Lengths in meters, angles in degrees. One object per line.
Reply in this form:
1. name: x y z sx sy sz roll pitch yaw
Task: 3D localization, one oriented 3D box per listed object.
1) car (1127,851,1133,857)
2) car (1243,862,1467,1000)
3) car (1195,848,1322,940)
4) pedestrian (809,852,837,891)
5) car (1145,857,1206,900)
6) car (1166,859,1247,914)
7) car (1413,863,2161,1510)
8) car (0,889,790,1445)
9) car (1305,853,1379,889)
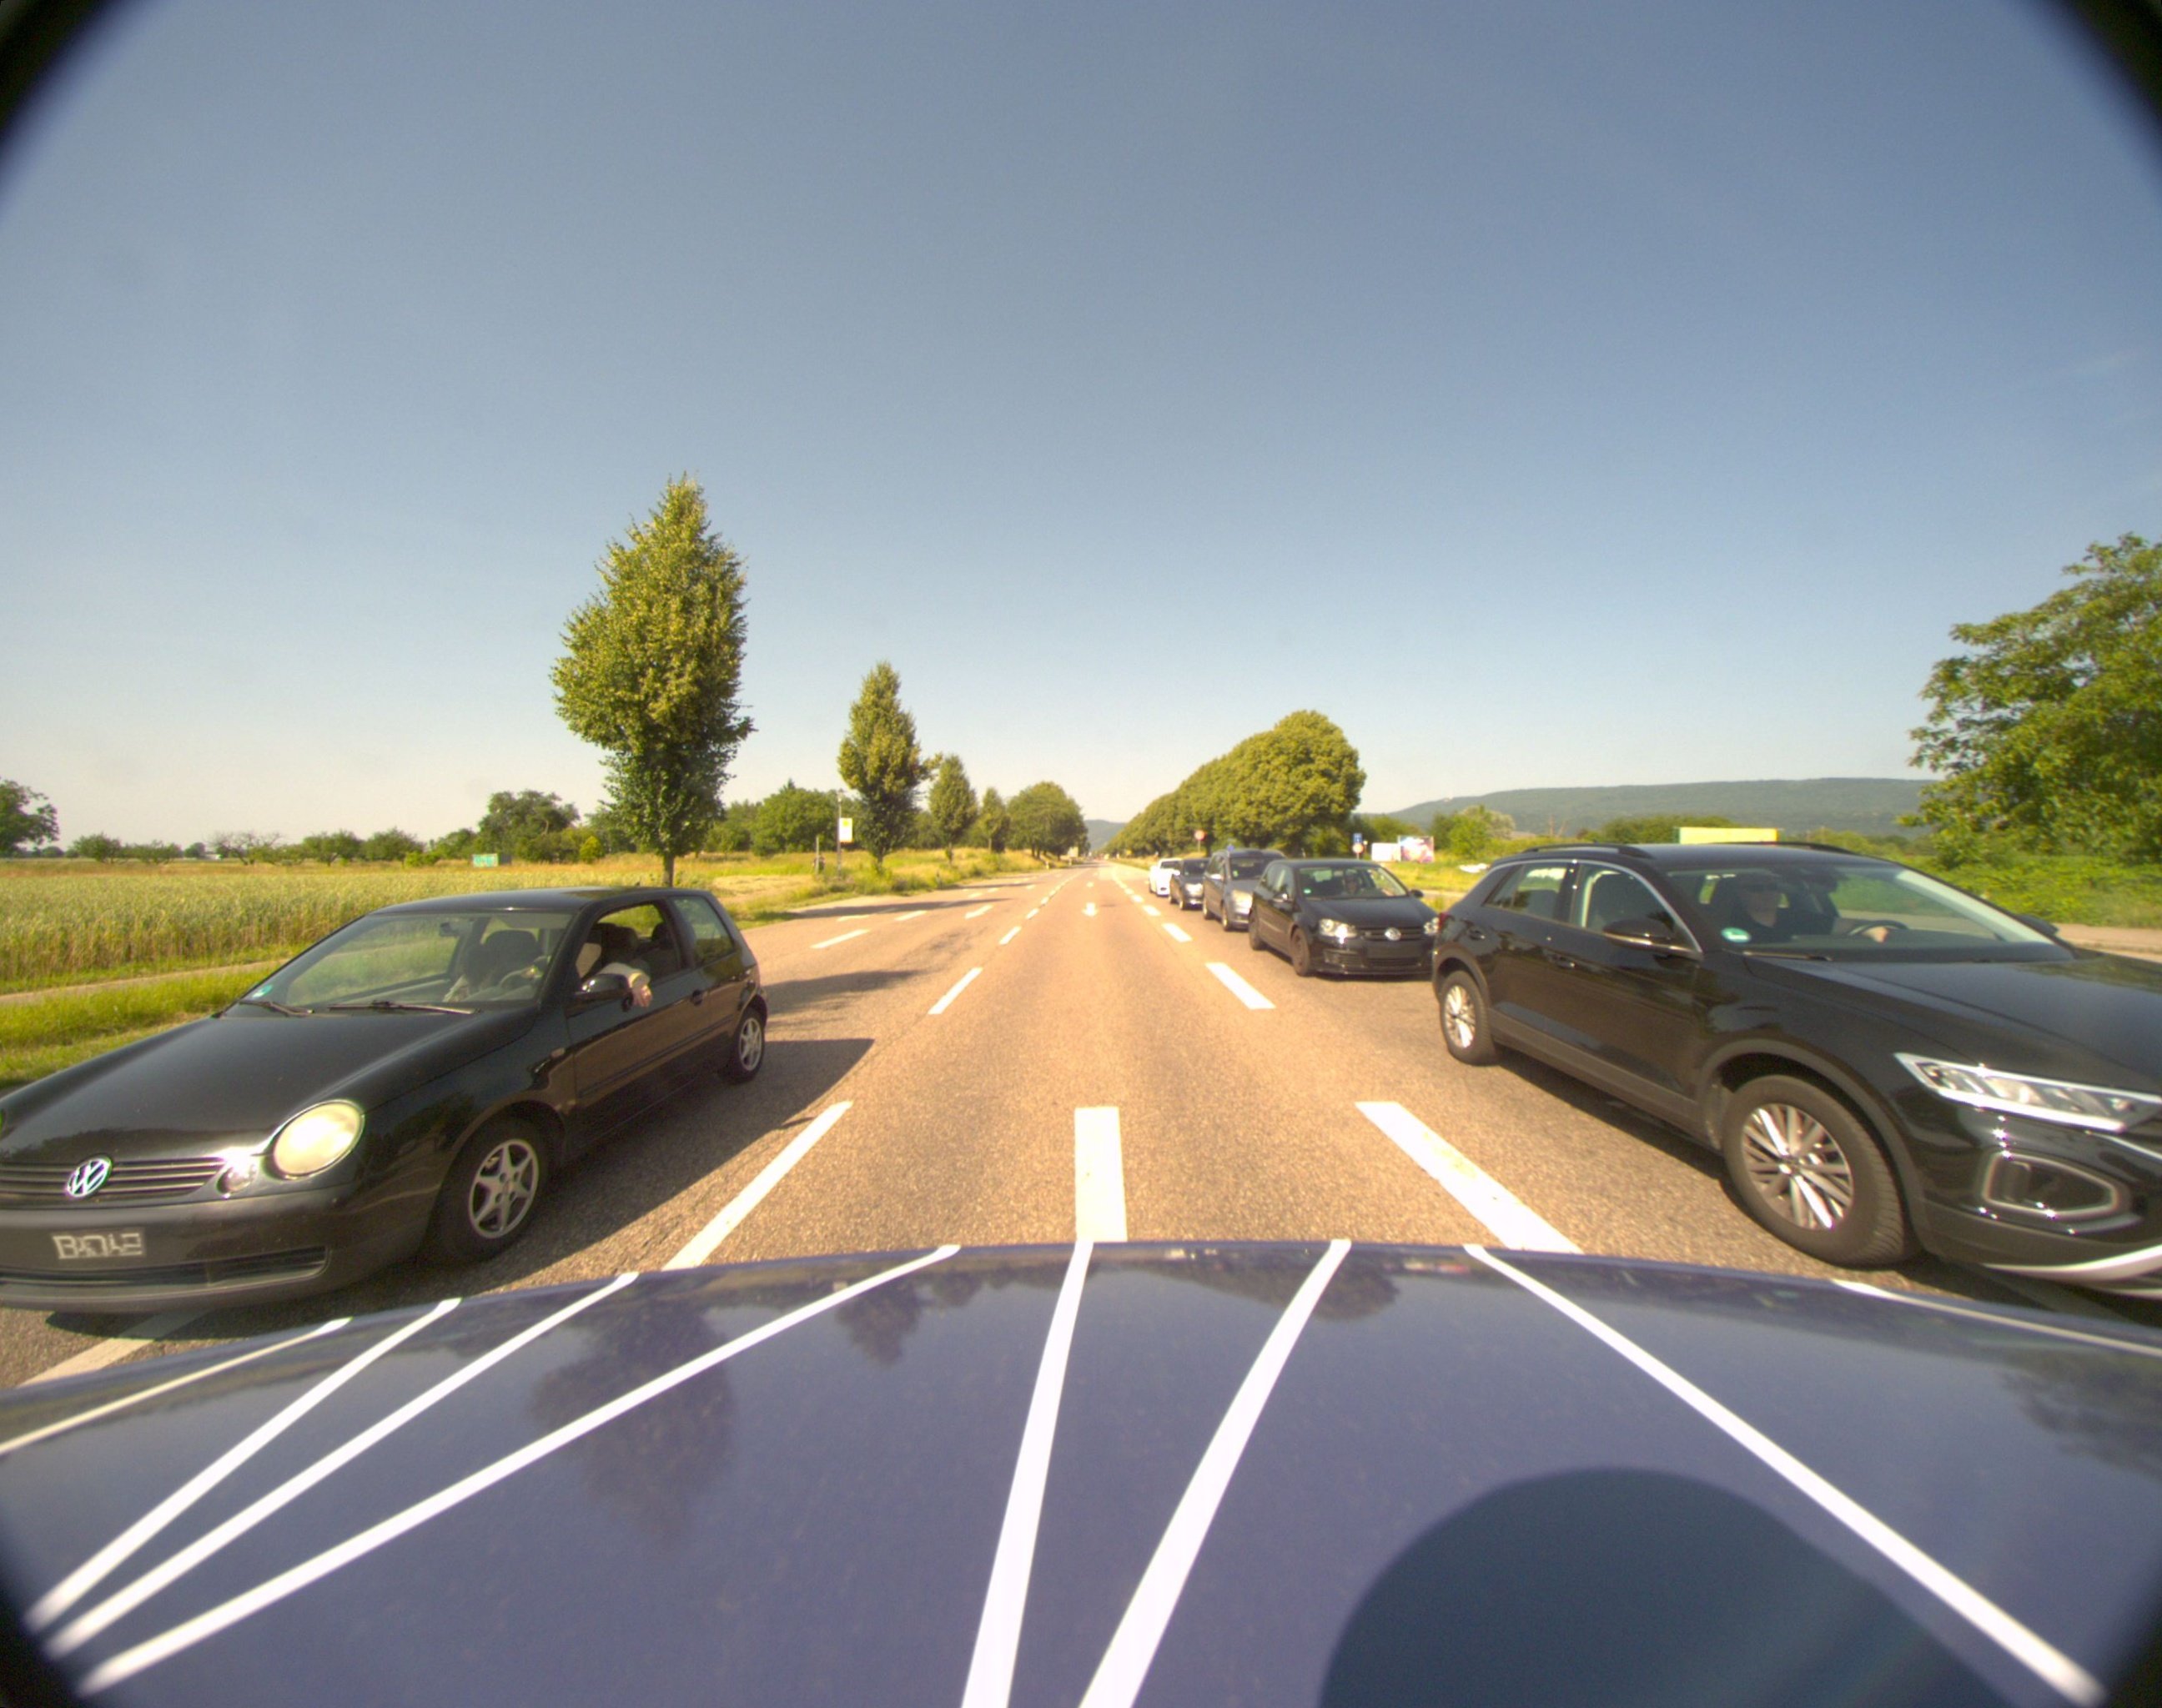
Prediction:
1. car: 16.987 -0.028 264.125 1.998 1.830 4.953 2 0 1
2. car: 3.467 0.870 10.458 1.670 1.466 4.098 -1 0 1
3. car: 3.616 0.749 16.255 1.745 1.662 4.357 -1 0 1
4. pedestrian: -12.219 0.812 35.988 0.904 1.828 1.194 0 0 -1
5. car: 3.527 0.876 29.174 1.808 1.417 4.641 -1 0 1
6. car: 3.566 0.872 22.247 1.719 1.402 4.355 -1 0 1
7. car: 3.454 0.854 3.923 1.733 1.538 4.098 -1 0 1
8. car: -3.102 1.012 4.026 1.629 1.425 3.622 -2 0 1
9. car: 12.487 0.771 36.594 1.888 1.506 4.146 2 0 -3
